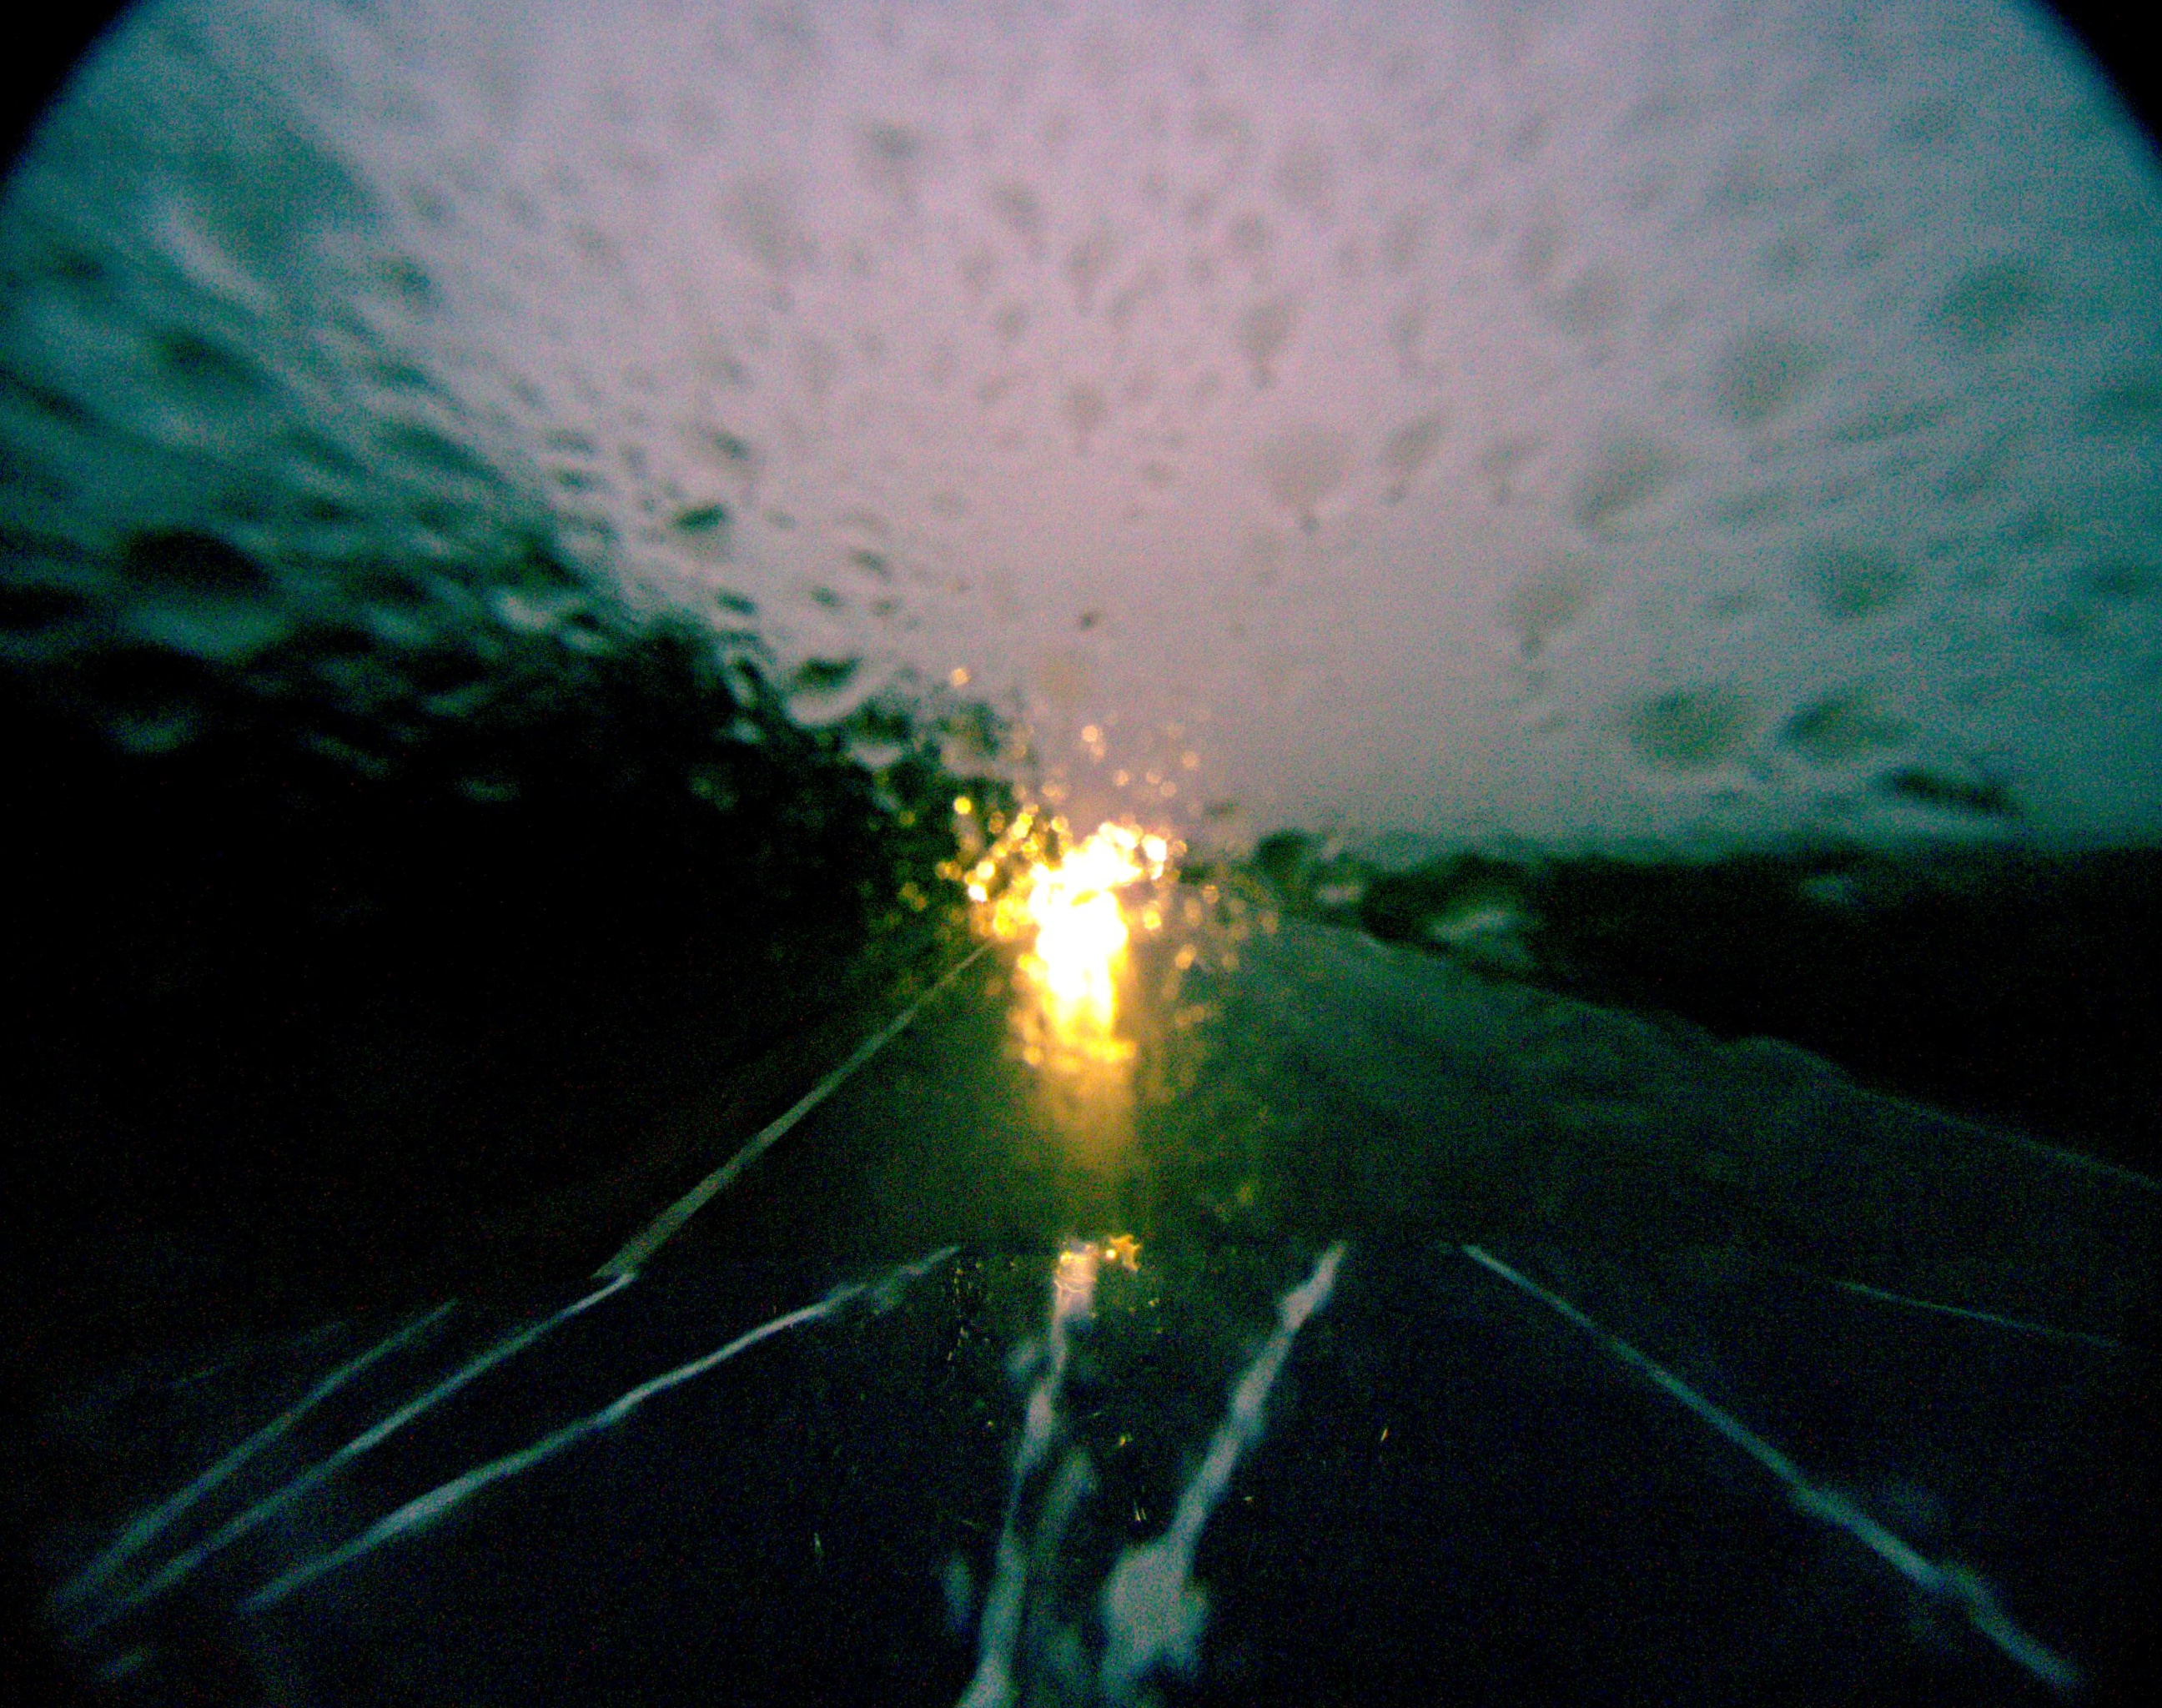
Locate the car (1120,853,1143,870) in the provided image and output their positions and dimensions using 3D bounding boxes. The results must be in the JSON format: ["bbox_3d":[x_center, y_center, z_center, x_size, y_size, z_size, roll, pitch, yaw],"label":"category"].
[{"bbox_3d":[4.953,0.725,75.254,1.998,1.455,4.351,3,1,1],"label":"car"}]

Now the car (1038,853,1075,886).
[{"bbox_3d":[-1.373,0.868,44.605,1.933,1.740,4.000,-2,1,1],"label":"car"}]

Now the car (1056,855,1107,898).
[{"bbox_3d":[0.037,0.848,30.434,1.844,1.484,3.955,-2,1,0],"label":"car"}]

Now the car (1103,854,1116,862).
[{"bbox_3d":[4.888,0.674,129.517,1.998,1.364,4.397,-2,1,1],"label":"car"}]
